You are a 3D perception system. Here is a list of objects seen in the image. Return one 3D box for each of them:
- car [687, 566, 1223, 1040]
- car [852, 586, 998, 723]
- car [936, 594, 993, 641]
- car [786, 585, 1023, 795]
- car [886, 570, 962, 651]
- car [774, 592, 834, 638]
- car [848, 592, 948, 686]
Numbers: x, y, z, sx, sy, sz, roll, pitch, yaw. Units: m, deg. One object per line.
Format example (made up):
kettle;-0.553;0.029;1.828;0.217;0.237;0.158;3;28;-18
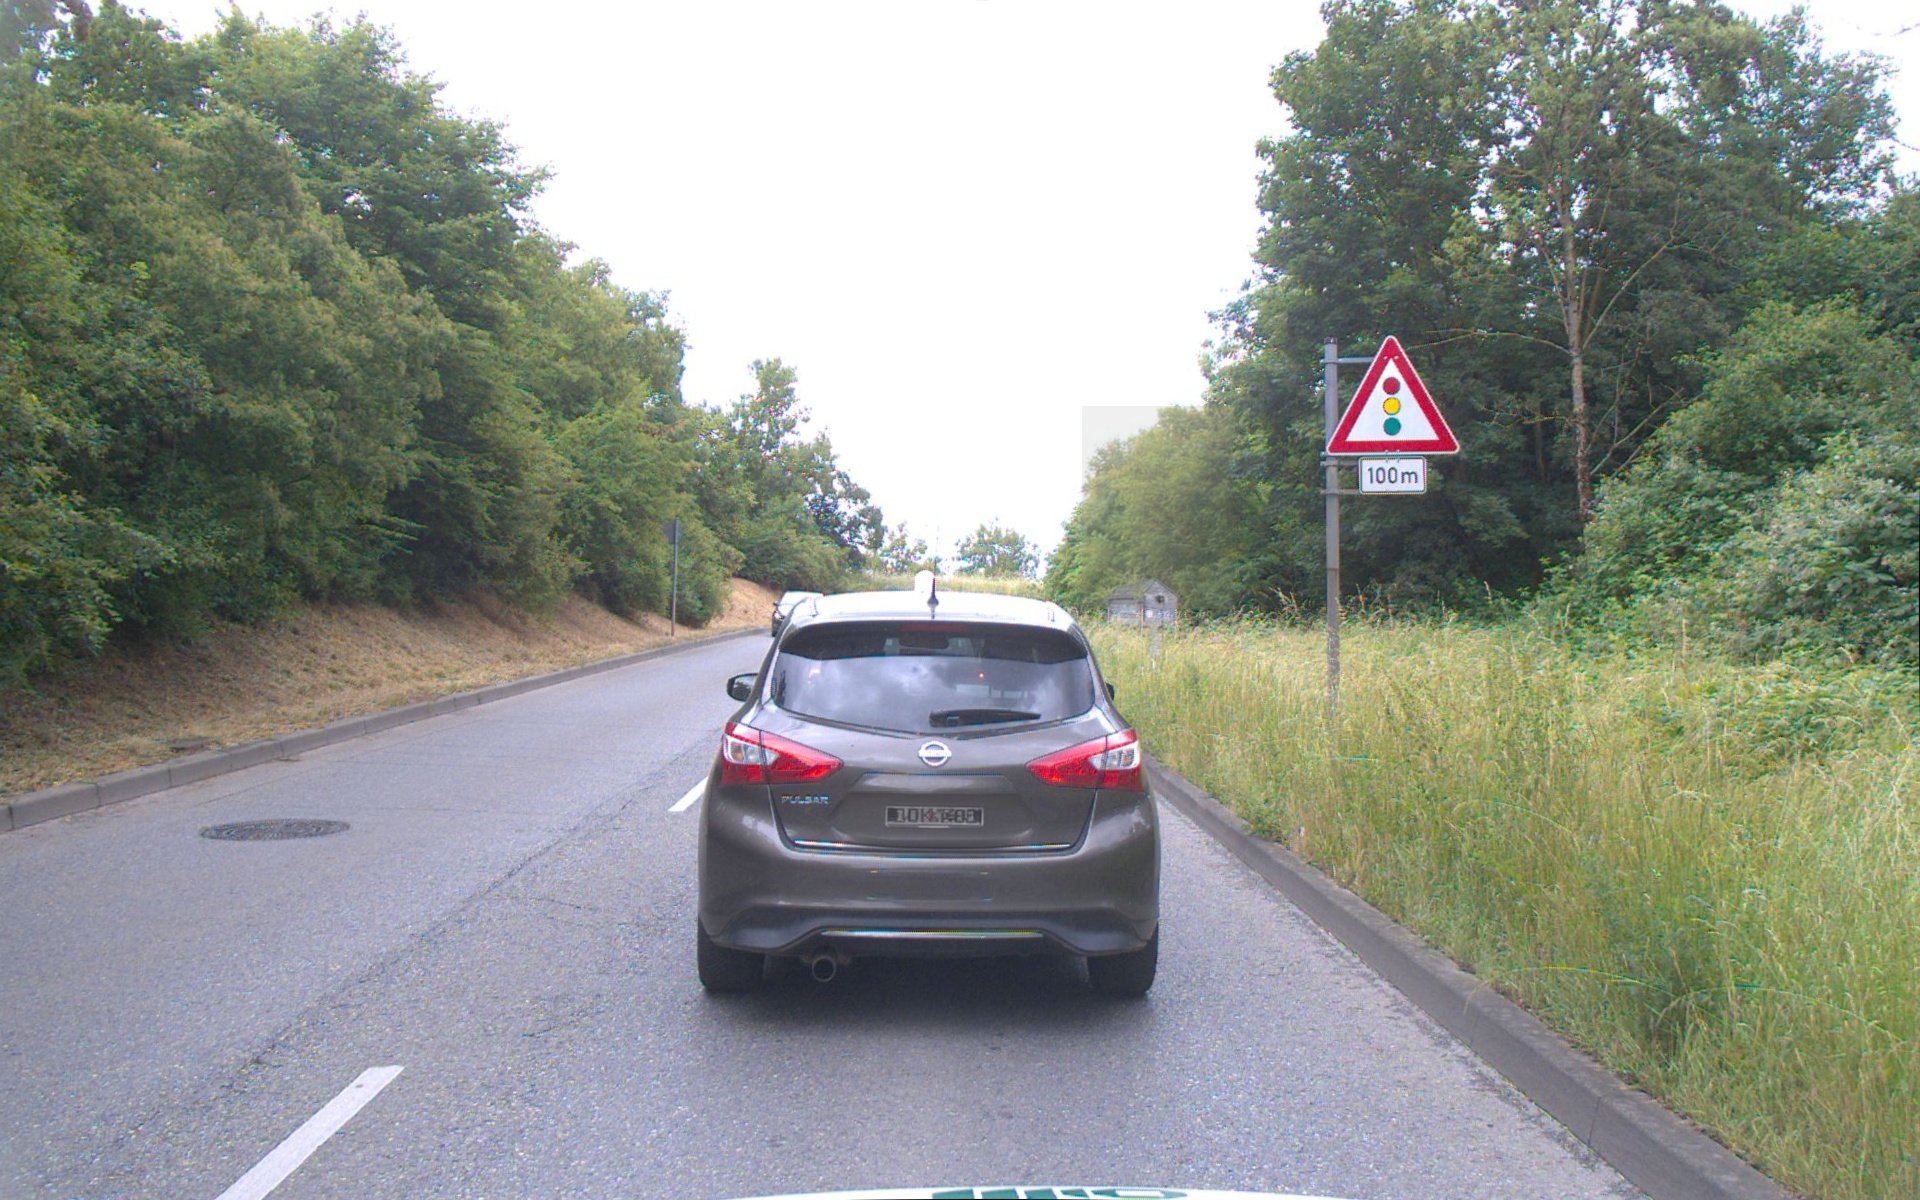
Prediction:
car;-0.078;0.678;7.316;1.793;1.583;3.497;1;0;-2
car;-0.420;0.626;20.967;1.700;1.583;3.543;0;0;-1
car;0.189;0.588;57.805;1.699;1.553;3.546;0;0;5
car;-0.435;0.675;14.347;1.793;1.583;3.624;0;0;-1
car;-0.874;0.253;42.120;1.700;1.968;3.544;0;0;2
car;-4.950;0.453;52.859;1.609;1.425;3.820;1;0;-1
car;-1.067;0.655;29.945;1.700;1.583;3.543;0;0;-1
